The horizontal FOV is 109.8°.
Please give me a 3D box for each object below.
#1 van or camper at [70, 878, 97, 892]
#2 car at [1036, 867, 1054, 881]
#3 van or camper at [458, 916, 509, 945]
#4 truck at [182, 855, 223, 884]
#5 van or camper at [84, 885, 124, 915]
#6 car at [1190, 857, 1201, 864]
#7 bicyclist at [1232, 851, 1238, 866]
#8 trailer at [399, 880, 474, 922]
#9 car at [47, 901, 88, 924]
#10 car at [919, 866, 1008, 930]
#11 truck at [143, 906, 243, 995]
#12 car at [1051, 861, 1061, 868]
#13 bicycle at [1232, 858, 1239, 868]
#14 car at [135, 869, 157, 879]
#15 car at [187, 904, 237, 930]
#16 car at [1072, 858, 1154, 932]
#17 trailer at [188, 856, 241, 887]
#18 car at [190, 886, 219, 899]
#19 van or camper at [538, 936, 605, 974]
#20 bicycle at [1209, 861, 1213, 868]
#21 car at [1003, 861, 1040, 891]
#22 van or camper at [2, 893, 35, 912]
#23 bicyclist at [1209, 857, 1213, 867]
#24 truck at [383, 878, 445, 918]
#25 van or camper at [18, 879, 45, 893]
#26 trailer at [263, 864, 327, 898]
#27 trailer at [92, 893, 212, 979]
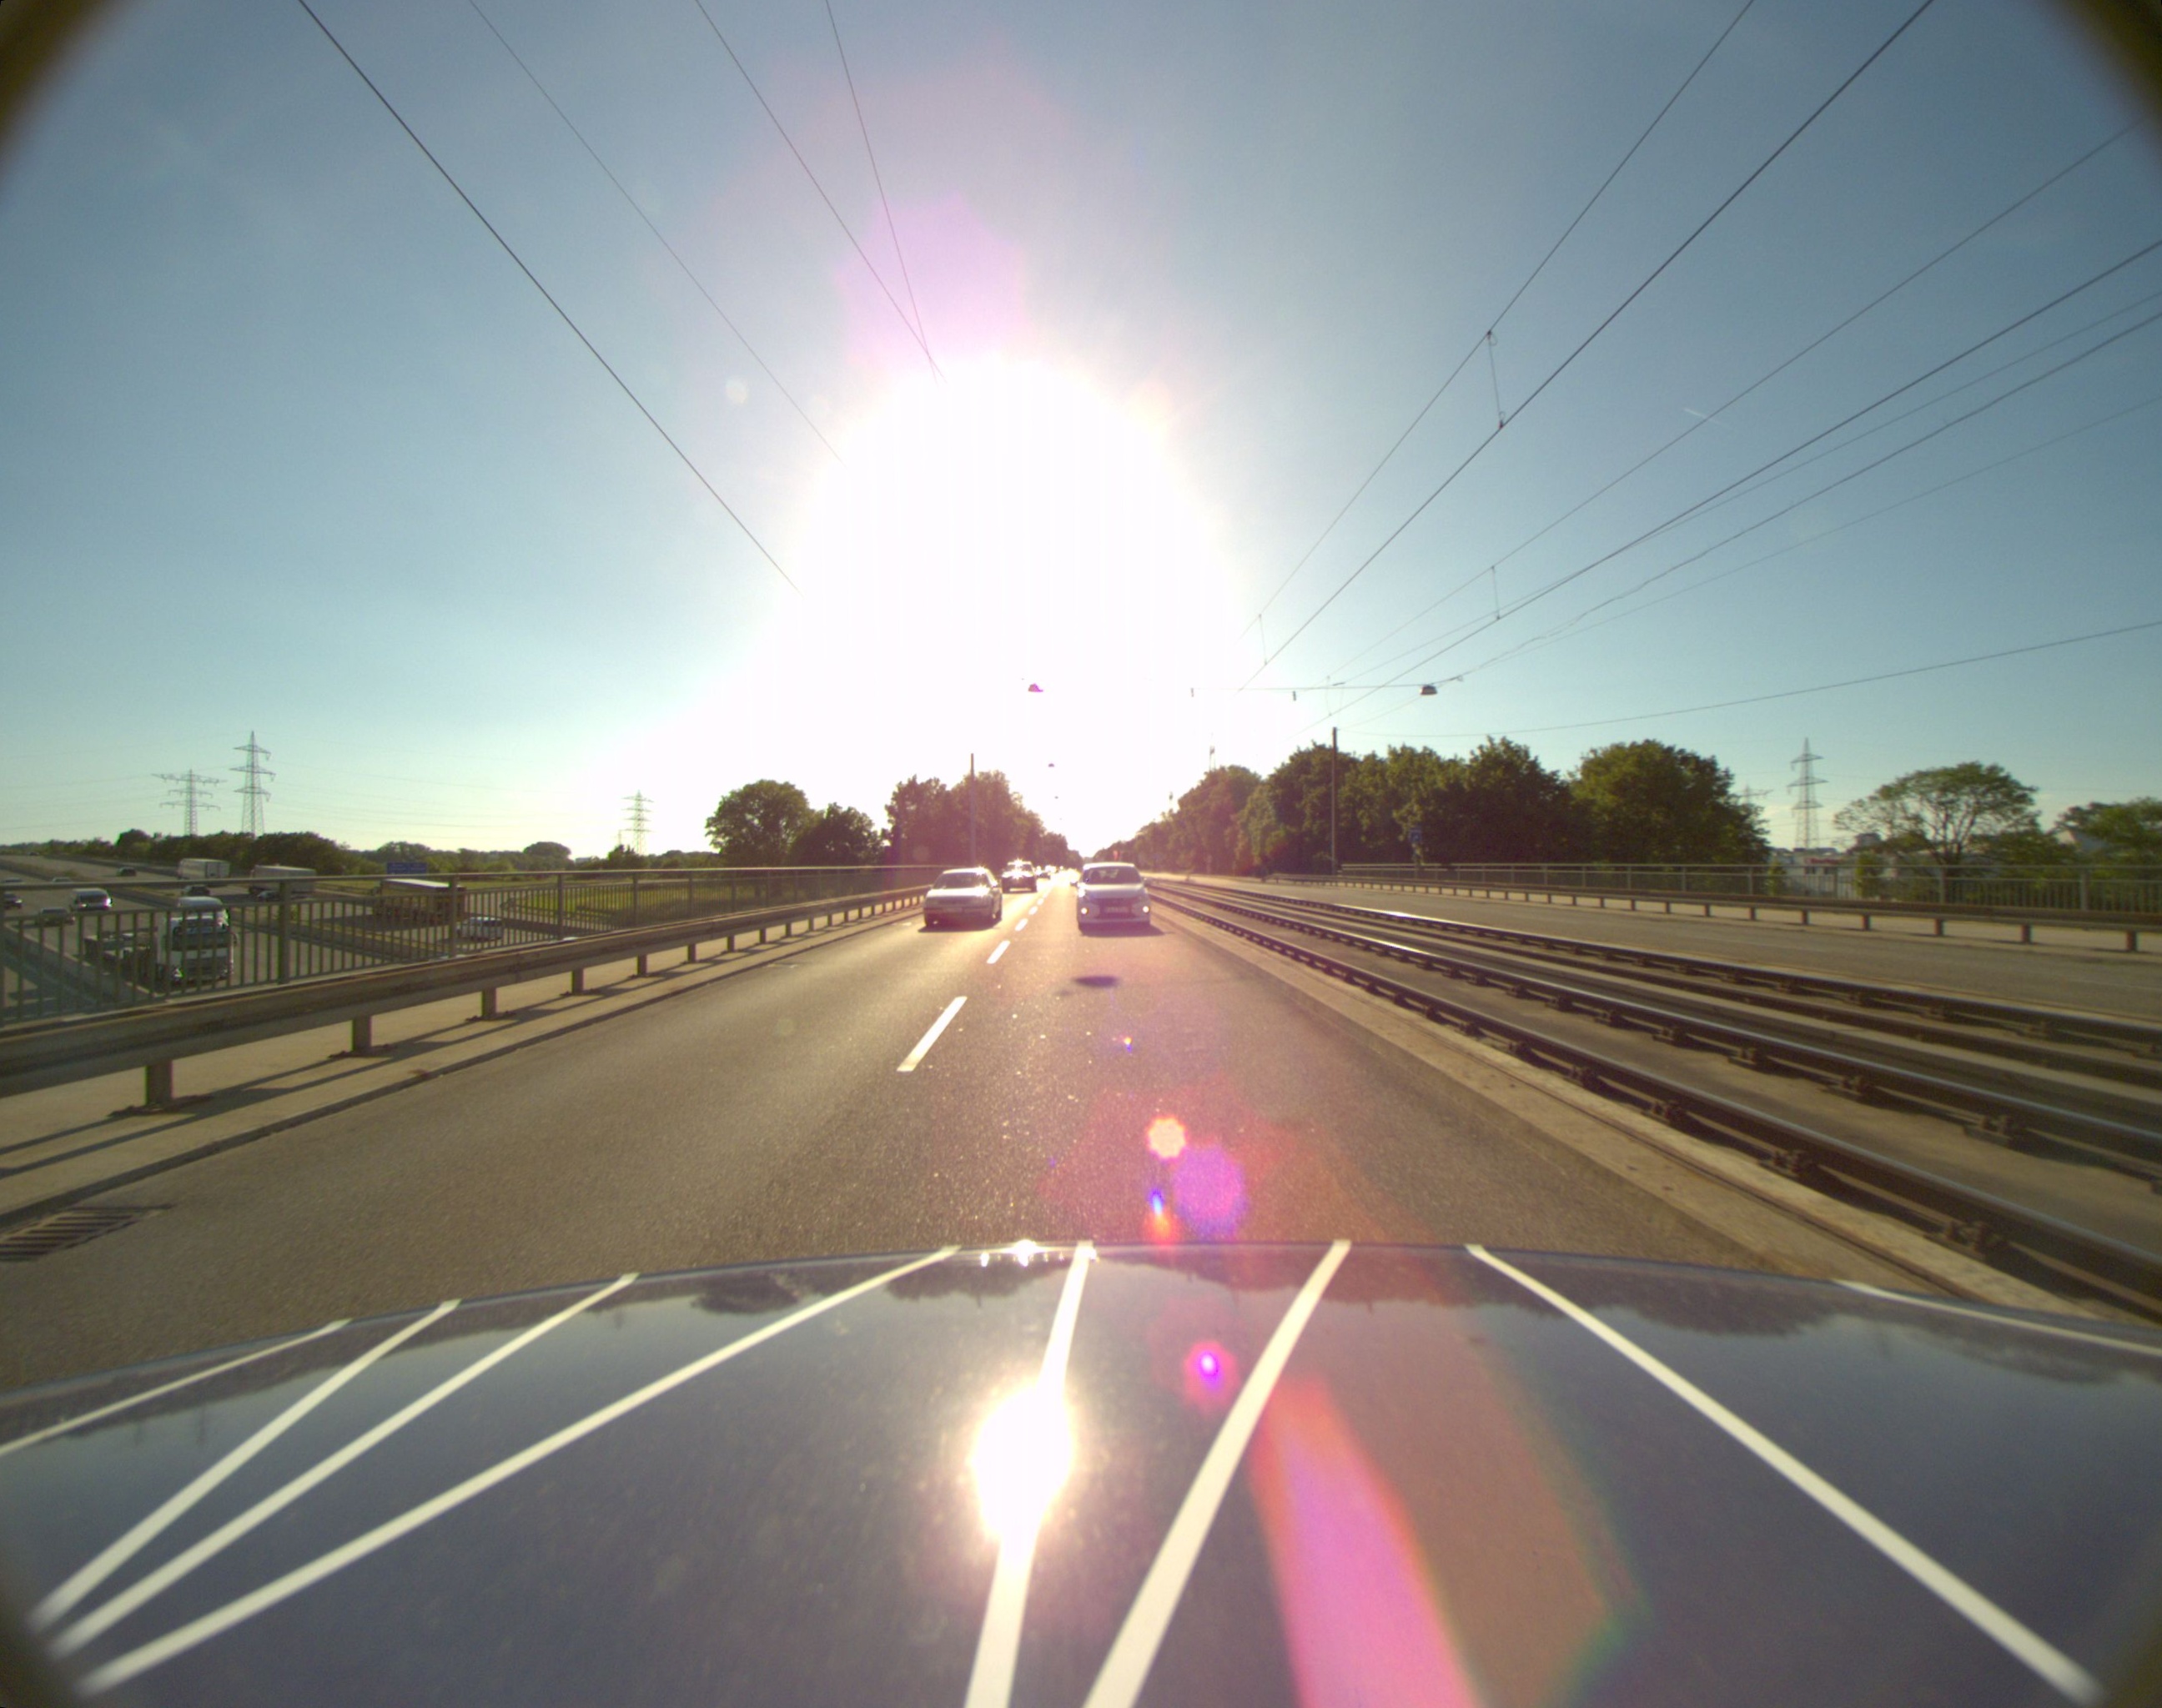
[{"bbox_3d":[-141.648,4.363,107.870,3.808,1.759,1.755,1,2,29],"label":"van or camper"},{"bbox_3d":[-4.179,2.332,88.696,1.905,1.512,3.956,-2,0,0],"label":"car"},{"bbox_3d":[-53.005,6.738,67.368,4.799,1.955,1.998,2,2,32],"label":"van or camper"},{"bbox_3d":[-144.526,2.566,125.000,6.587,4.436,3.057,1,3,30],"label":"truck"},{"bbox_3d":[-101.999,4.757,79.329,4.803,2.807,1.999,2,3,32],"label":"van or camper"},{"bbox_3d":[25.206,1.480,167.344,1.978,1.512,3.956,-2,0,0],"label":"car"},{"bbox_3d":[17.885,0.547,88.198,0.498,1.740,0.833,-2,1,-1],"label":"bicyclist"},{"bbox_3d":[-68.770,4.900,81.009,9.346,3.834,3.060,1,3,30],"label":"trailer"},{"bbox_3d":[-94.266,5.453,70.654,3.969,1.711,1.908,2,2,32],"label":"car"},{"bbox_3d":[-3.056,1.100,20.493,1.693,1.409,4.134,-2,0,0],"label":"car"},{"bbox_3d":[-54.454,5.749,46.554,7.211,4.586,2.739,1,2,31],"label":"truck"},{"bbox_3d":[-5.383,2.243,164.162,1.905,1.512,3.956,-2,0,0],"label":"car"},{"bbox_3d":[17.906,1.041,88.122,0.505,1.046,1.727,-2,1,0],"label":"bicycle"},{"bbox_3d":[-169.037,3.532,137.369,3.948,1.507,1.705,3,3,27],"label":"car"},{"bbox_3d":[-80.994,5.815,70.829,4.938,1.955,2.069,2,2,29],"label":"car"},{"bbox_3d":[0.699,0.898,18.255,1.709,1.503,3.862,-2,0,0],"label":"car"},{"bbox_3d":[-138.786,2.660,121.633,13.078,4.436,3.060,1,3,30],"label":"trailer"},{"bbox_3d":[-114.726,5.024,99.471,4.054,1.507,1.891,1,1,33],"label":"car"},{"bbox_3d":[-35.405,6.968,52.785,4.799,1.955,1.998,2,2,32],"label":"van or camper"},{"bbox_3d":[18.519,1.524,107.947,0.425,0.958,1.913,-2,0,5],"label":"bicycle"},{"bbox_3d":[-3.316,1.205,42.710,1.709,1.512,3.844,-2,0,0],"label":"car"},{"bbox_3d":[-115.577,5.290,82.676,3.807,1.759,1.755,1,2,31],"label":"van or camper"},{"bbox_3d":[18.510,1.190,107.967,0.422,1.420,0.755,-2,1,6],"label":"bicyclist"},{"bbox_3d":[-73.654,4.813,83.875,6.587,3.861,3.060,1,3,30],"label":"truck"},{"bbox_3d":[-144.626,4.403,104.704,3.807,1.759,1.755,1,2,30],"label":"van or camper"},{"bbox_3d":[-108.254,3.705,104.581,11.520,4.248,3.316,1,-1,30],"label":"trailer"},{"bbox_3d":[-64.450,5.366,52.514,16.929,4.561,2.738,1,2,31],"label":"trailer"}]
